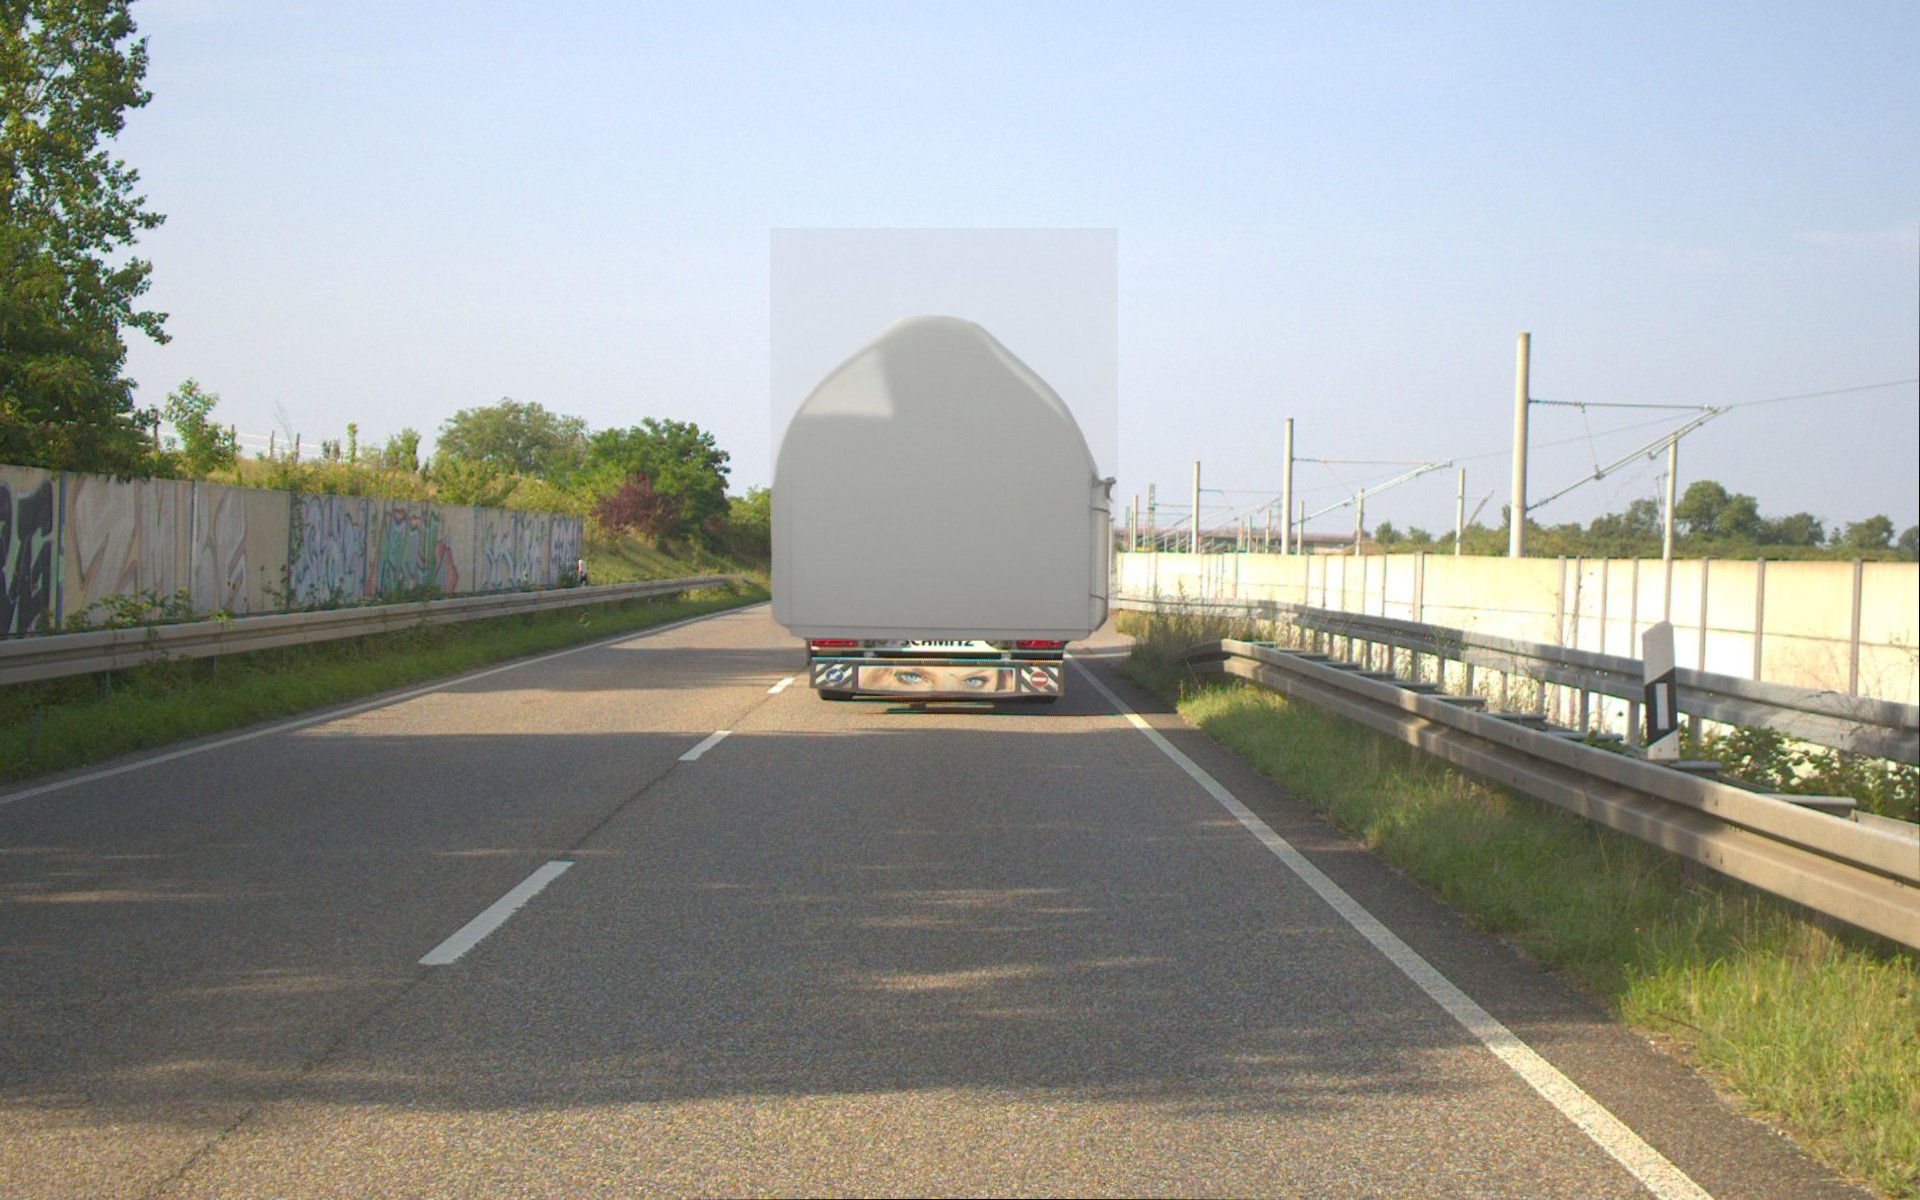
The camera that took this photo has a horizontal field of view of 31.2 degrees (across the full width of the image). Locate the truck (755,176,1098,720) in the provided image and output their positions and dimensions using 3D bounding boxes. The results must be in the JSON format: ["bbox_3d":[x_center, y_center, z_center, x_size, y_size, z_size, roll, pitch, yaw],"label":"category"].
[{"bbox_3d":[-0.404,-1.479,37.235,3.033,4.903,11.685,1,1,-1],"label":"truck"}]
